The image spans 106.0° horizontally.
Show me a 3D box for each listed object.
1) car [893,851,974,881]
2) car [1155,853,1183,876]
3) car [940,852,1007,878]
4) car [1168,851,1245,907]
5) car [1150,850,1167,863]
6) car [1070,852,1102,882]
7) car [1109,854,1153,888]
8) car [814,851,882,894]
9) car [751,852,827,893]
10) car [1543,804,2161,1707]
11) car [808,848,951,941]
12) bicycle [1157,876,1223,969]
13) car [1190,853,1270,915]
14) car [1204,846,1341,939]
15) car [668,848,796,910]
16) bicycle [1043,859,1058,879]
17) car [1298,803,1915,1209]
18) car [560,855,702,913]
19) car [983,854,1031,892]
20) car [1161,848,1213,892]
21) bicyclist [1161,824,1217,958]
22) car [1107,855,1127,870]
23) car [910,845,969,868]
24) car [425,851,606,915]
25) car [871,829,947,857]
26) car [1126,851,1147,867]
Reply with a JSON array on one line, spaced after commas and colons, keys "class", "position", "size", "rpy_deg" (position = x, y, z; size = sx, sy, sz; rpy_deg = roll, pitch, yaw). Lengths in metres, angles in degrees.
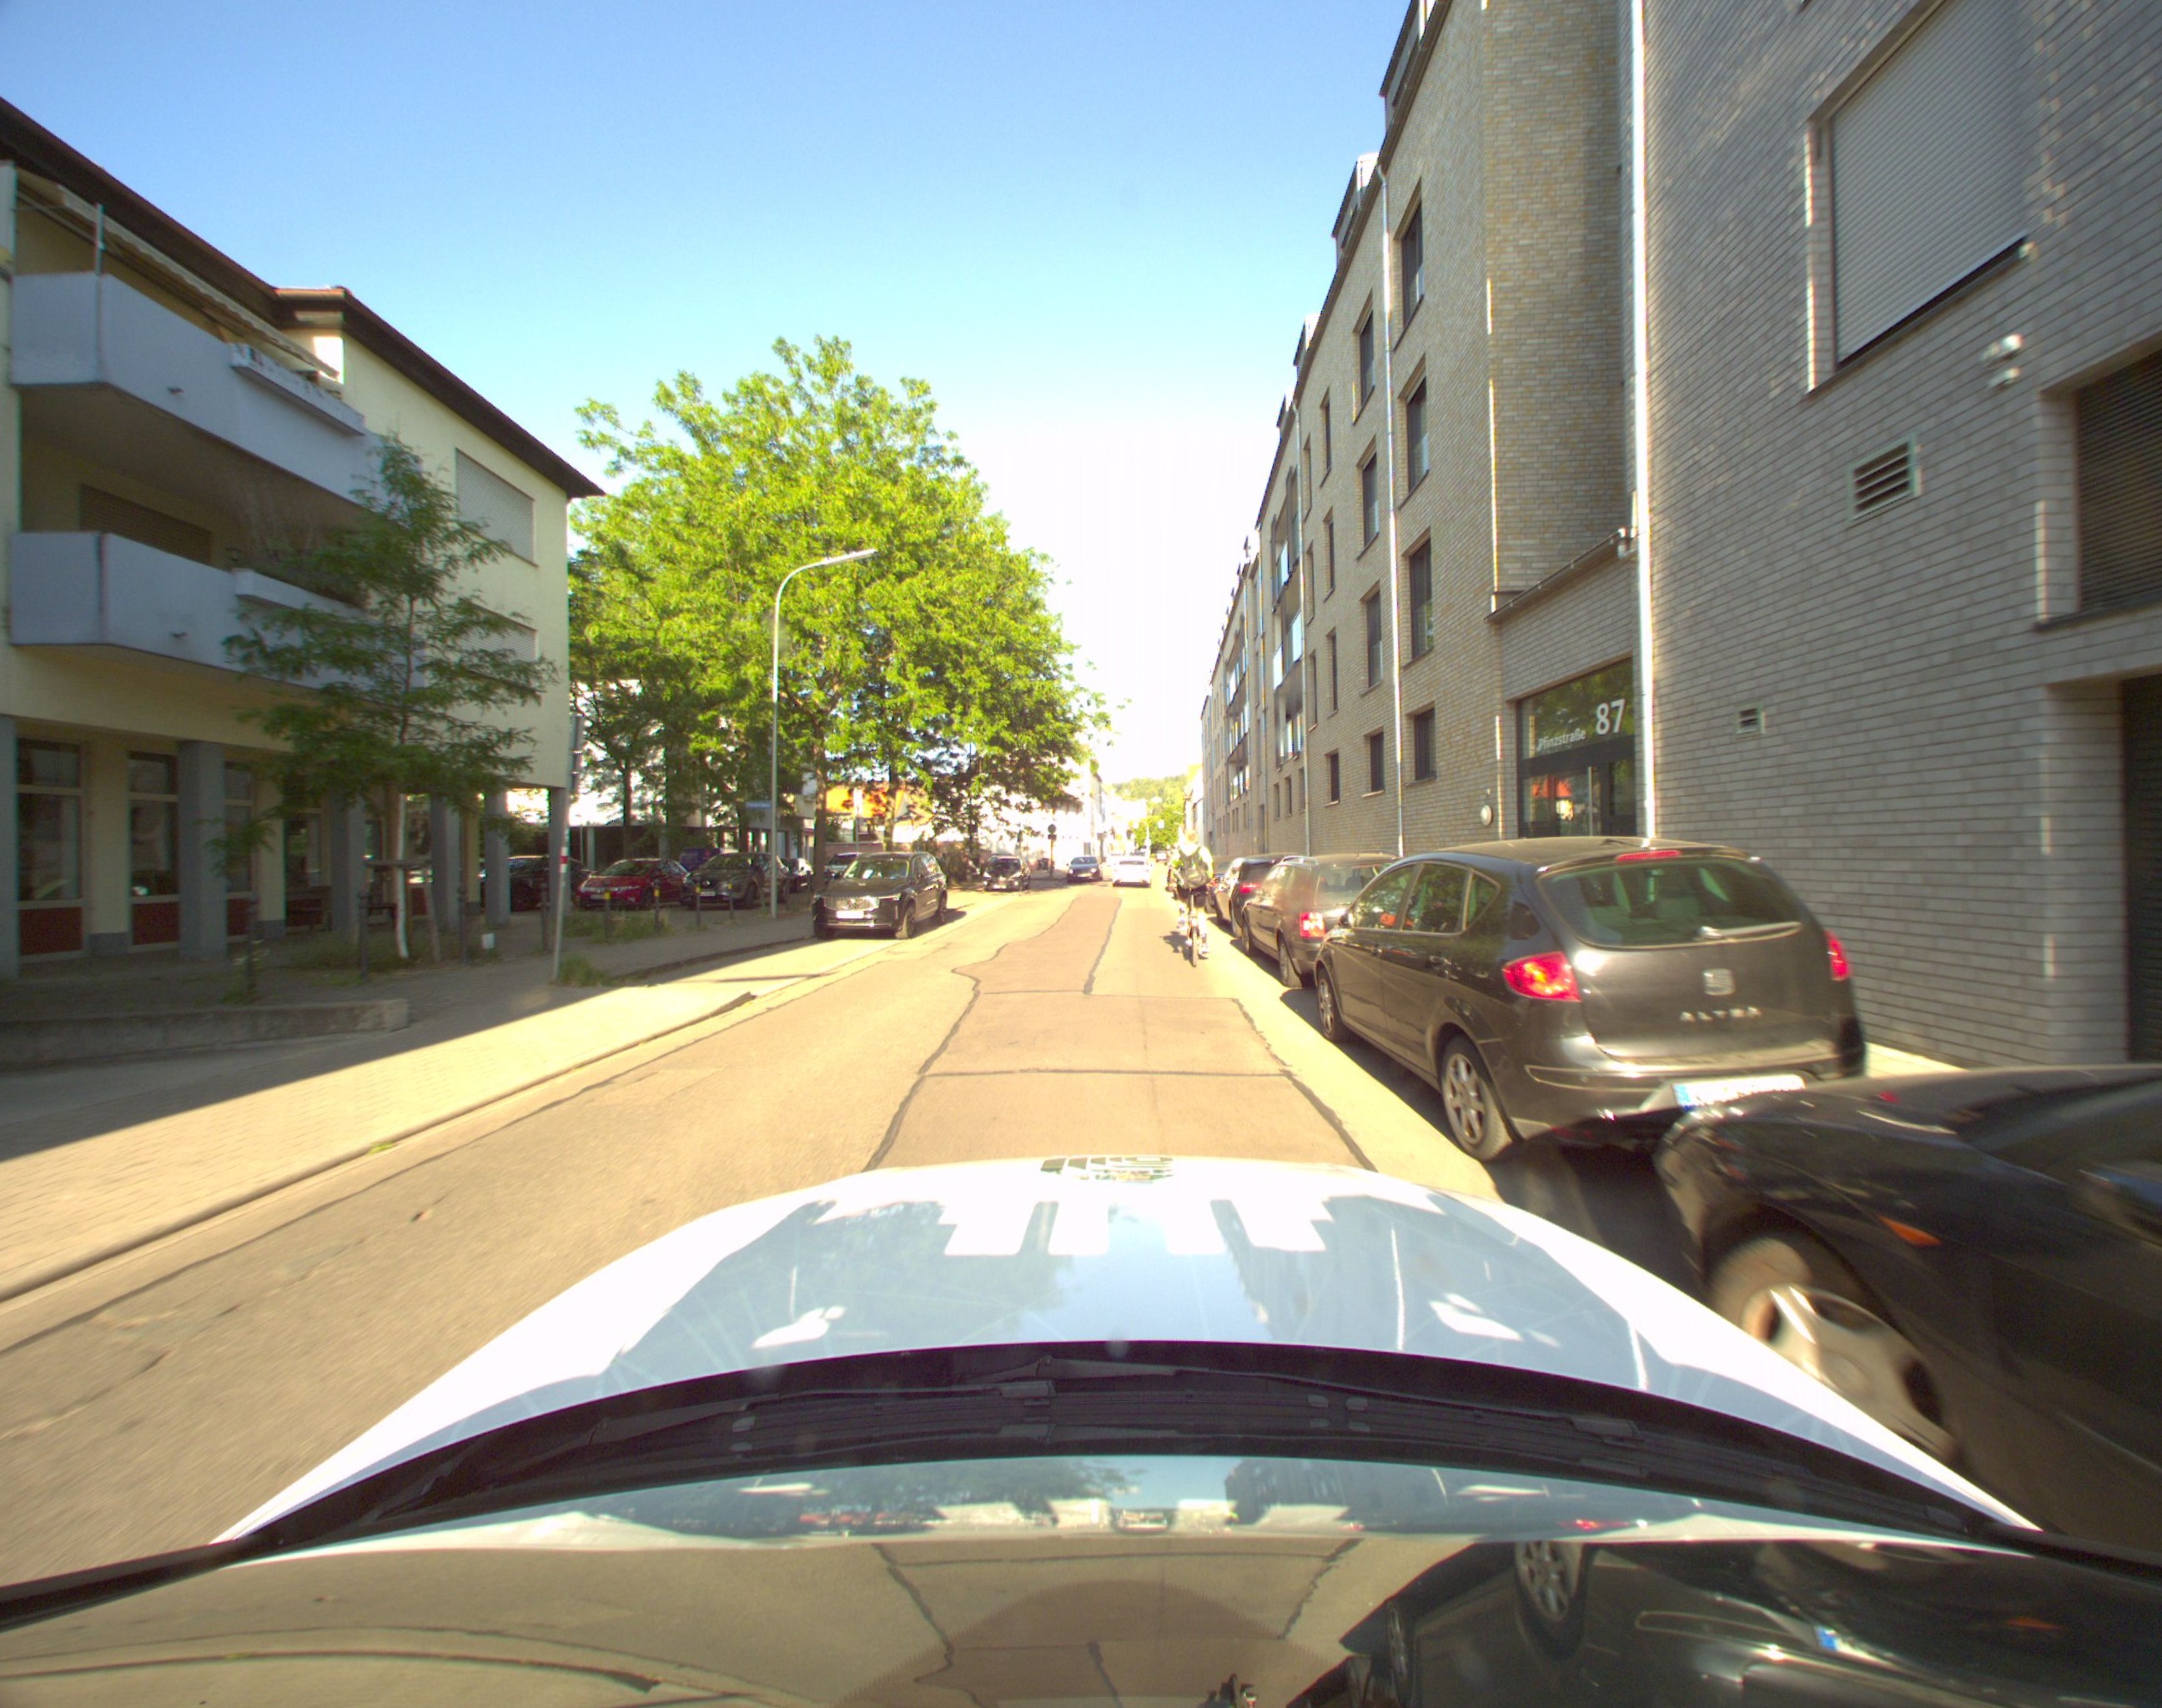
[{"class": "car", "position": [-7.868, 0.622, 43.616], "size": [3.878, 1.575, 1.714], "rpy_deg": [0, 0, 9]}, {"class": "car", "position": [6.572, 0.793, 61.261], "size": [1.850, 1.587, 4.625], "rpy_deg": [-3, -1, 3]}, {"class": "car", "position": [-6.653, 0.695, 50.686], "size": [3.884, 1.575, 1.711], "rpy_deg": [0, 0, 3]}, {"class": "car", "position": [3.997, 0.769, 26.656], "size": [1.851, 1.587, 4.622], "rpy_deg": [-3, -1, 1]}, {"class": "car", "position": [10.617, 0.372, 111.853], "size": [1.847, 1.791, 4.605], "rpy_deg": [0, 0, -1]}, {"class": "car", "position": [0.281, 0.707, 44.753], "size": [1.658, 1.575, 3.914], "rpy_deg": [0, 0, 1]}, {"class": "car", "position": [2.292, 0.786, 38.471], "size": [1.836, 1.491, 4.143], "rpy_deg": [0, -1, 0]}, {"class": "car", "position": [-10.005, 0.745, 35.302], "size": [1.784, 1.689, 3.964], "rpy_deg": [2, 0, 0]}, {"class": "car", "position": [-12.511, 0.751, 35.134], "size": [1.851, 1.587, 3.671], "rpy_deg": [2, 0, 0]}, {"class": "car", "position": [2.546, 0.670, 0.998], "size": [1.624, 1.587, 4.069], "rpy_deg": [-3, -1, 1]}, {"class": "car", "position": [-4.282, 0.781, 18.116], "size": [1.846, 1.791, 4.610], "rpy_deg": [0, 0, 3]}, {"class": "bicycle", "position": [1.488, 0.902, 11.468], "size": [0.695, 1.130, 2.404], "rpy_deg": [0, -1, 2]}, {"class": "car", "position": [3.880, 0.752, 21.729], "size": [1.502, 1.444, 3.530], "rpy_deg": [-3, -1, 1]}, {"class": "car", "position": [3.622, 0.677, 16.263], "size": [1.850, 1.587, 4.624], "rpy_deg": [0, 0, 3]}, {"class": "car", "position": [-10.095, 0.656, 24.006], "size": [1.853, 1.587, 4.618], "rpy_deg": [2, 0, -2]}, {"class": "bicycle", "position": [-1.914, 0.927, 51.612], "size": [0.832, 1.217, 2.842], "rpy_deg": [0, 0, 1]}, {"class": "car", "position": [2.730, 0.637, 5.389], "size": [1.658, 1.702, 3.915], "rpy_deg": [0, 0, 1]}, {"class": "car", "position": [-12.673, 0.783, 23.246], "size": [1.713, 1.448, 4.142], "rpy_deg": [2, 0, 0]}, {"class": "car", "position": [-3.272, 0.810, 36.581], "size": [1.698, 1.575, 3.914], "rpy_deg": [0, 0, 1]}, {"class": "car", "position": [4.540, 0.663, 35.531], "size": [1.850, 1.702, 4.625], "rpy_deg": [-3, -1, 3]}, {"class": "bicyclist", "position": [1.493, 0.497, 11.411], "size": [0.695, 1.790, 1.041], "rpy_deg": [0, -1, 2]}, {"class": "car", "position": [4.093, 0.949, 92.160], "size": [1.936, 1.587, 4.627], "rpy_deg": [-3, -1, 4]}, {"class": "car", "position": [-9.903, 0.201, 57.205], "size": [3.896, 1.575, 1.706], "rpy_deg": [0, 0, -6]}, {"class": "car", "position": [-15.740, 0.729, 23.032], "size": [1.852, 1.587, 4.620], "rpy_deg": [2, 0, 0]}, {"class": "car", "position": [-9.807, -0.630, 46.471], "size": [3.881, 1.575, 1.713], "rpy_deg": [0, 0, 6]}, {"class": "car", "position": [6.013, 0.519, 87.968], "size": [1.935, 1.587, 4.630], "rpy_deg": [-3, -1, 6]}]
